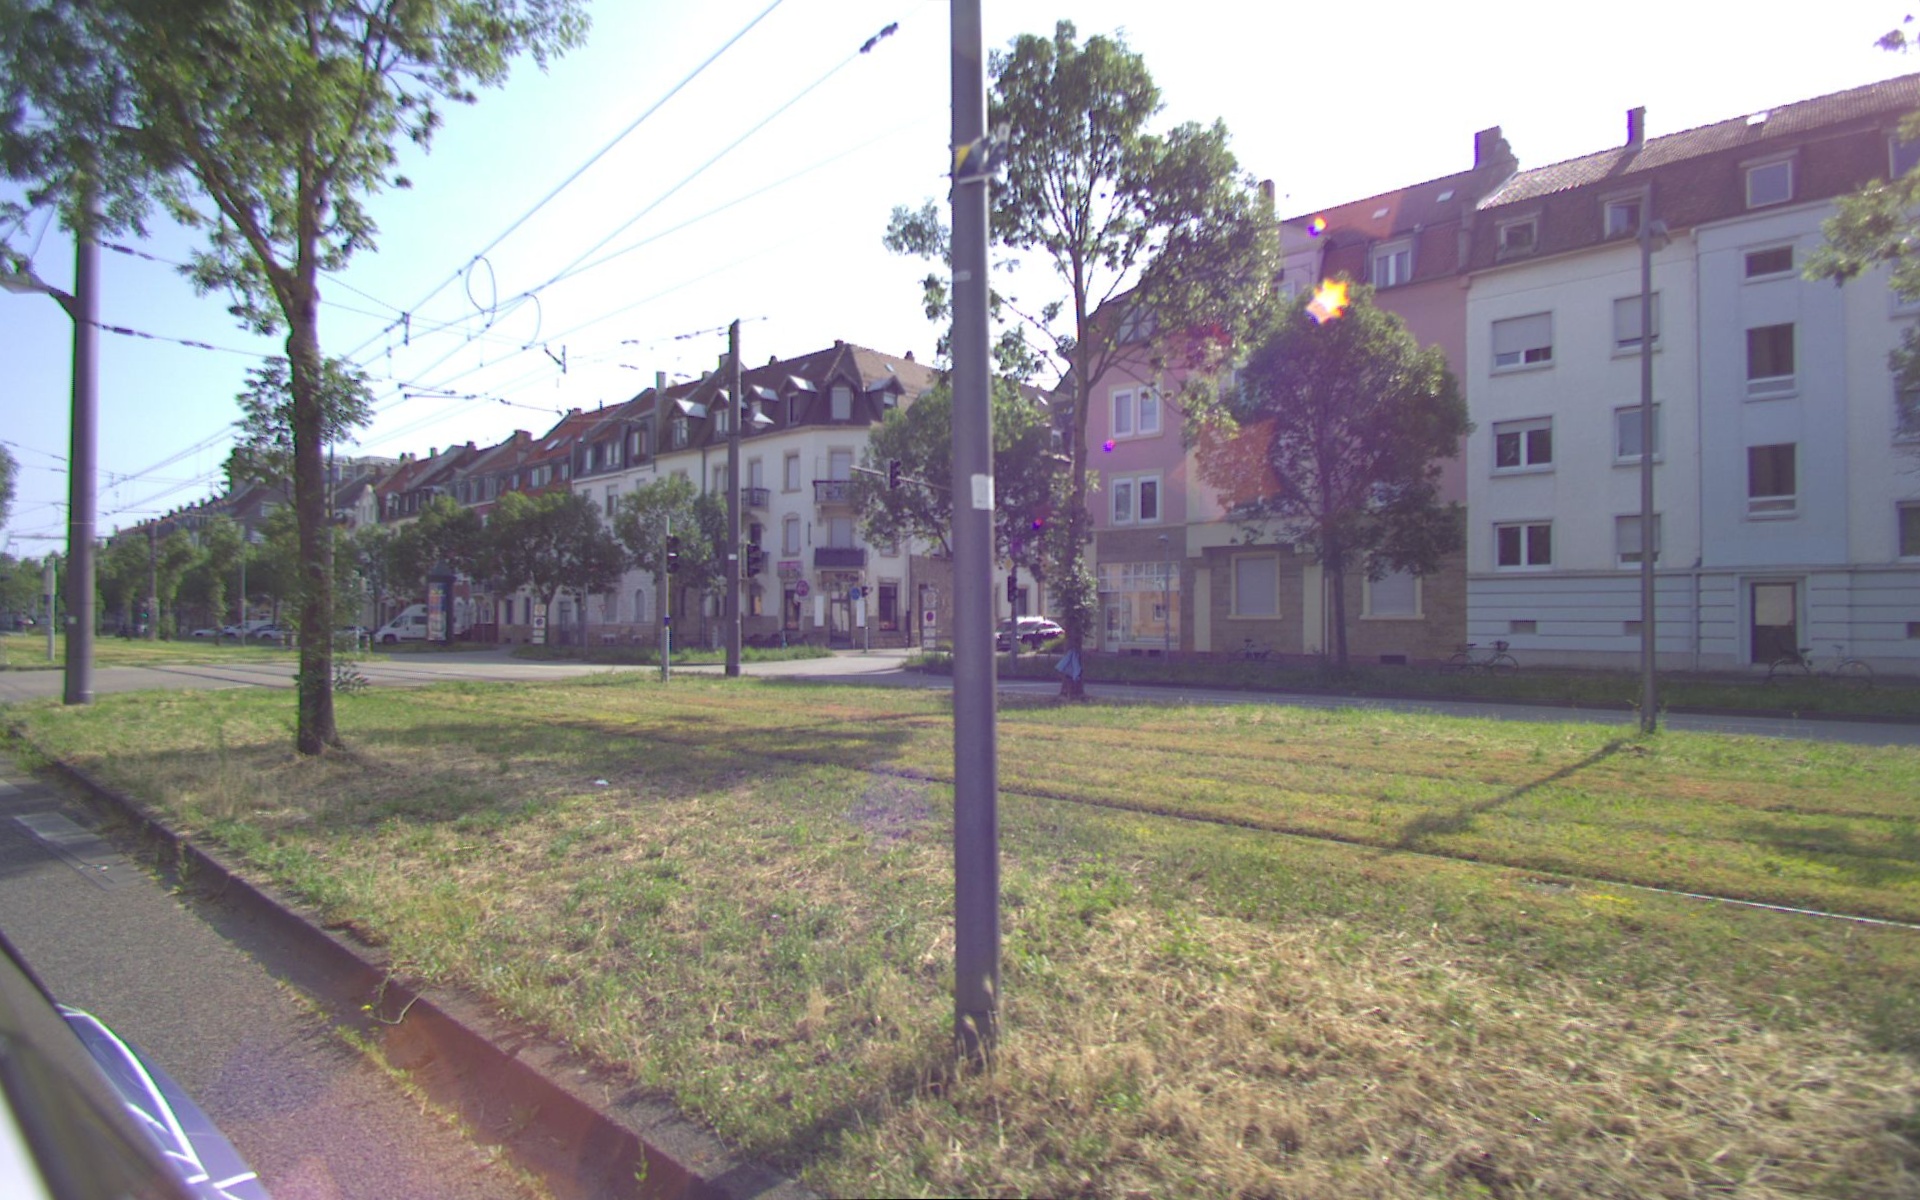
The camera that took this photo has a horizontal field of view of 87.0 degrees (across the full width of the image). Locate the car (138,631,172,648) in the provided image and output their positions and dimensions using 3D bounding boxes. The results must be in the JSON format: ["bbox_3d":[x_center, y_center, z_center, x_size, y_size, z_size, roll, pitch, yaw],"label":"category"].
[{"bbox_3d":[-75.216,3.640,94.539,3.924,1.444,1.793,-1,1,41],"label":"car"}]

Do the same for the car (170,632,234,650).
[{"bbox_3d":[-75.683,4.079,101.065,4.697,1.496,2.029,-2,1,-16],"label":"car"}]

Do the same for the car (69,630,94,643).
[{"bbox_3d":[-113.410,4.659,130.639,4.648,1.470,1.926,-1,1,43],"label":"car"}]

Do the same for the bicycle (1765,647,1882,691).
[{"bbox_3d":[19.045,1.509,22.364,1.946,0.863,0.443,-1,1,41],"label":"bicycle"}]

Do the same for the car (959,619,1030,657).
[{"bbox_3d":[1.933,2.050,55.588,1.832,1.863,3.947,-1,1,40],"label":"car"}]

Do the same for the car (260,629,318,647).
[{"bbox_3d":[-55.413,3.114,83.597,3.625,1.251,1.667,-1,1,-13],"label":"car"}]

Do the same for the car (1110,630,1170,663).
[{"bbox_3d":[9.130,2.325,51.184,1.568,1.472,3.364,-1,1,39],"label":"car"}]

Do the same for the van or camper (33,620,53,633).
[{"bbox_3d":[-159.096,4.619,175.516,5.351,2.112,1.931,-1,1,42],"label":"van or camper"}]

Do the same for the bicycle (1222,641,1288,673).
[{"bbox_3d":[9.188,1.759,31.568,1.946,0.895,0.463,-1,1,41],"label":"bicycle"}]

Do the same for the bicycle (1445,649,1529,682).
[{"bbox_3d":[14.107,1.752,27.150,1.946,0.795,0.433,-1,1,41],"label":"bicycle"}]

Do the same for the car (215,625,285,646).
[{"bbox_3d":[-65.068,3.224,92.784,4.869,1.739,1.862,-1,1,-13],"label":"car"}]

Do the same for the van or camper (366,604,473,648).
[{"bbox_3d":[-35.346,1.657,66.361,5.827,2.593,2.205,-1,1,-13],"label":"van or camper"}]

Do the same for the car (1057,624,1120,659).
[{"bbox_3d":[7.691,2.431,60.342,1.832,1.863,3.947,-1,1,40],"label":"car"}]

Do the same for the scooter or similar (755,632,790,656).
[{"bbox_3d":[-9.014,2.108,48.586,1.477,1.077,0.737,-1,1,21],"label":"scooter or similar"}]

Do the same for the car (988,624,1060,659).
[{"bbox_3d":[3.430,2.153,53.668,1.832,1.633,3.947,-1,1,40],"label":"car"}]

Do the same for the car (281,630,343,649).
[{"bbox_3d":[-49.091,2.962,76.713,3.625,1.251,1.667,-1,1,-13],"label":"car"}]

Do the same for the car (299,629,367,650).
[{"bbox_3d":[-46.197,2.875,74.663,3.948,1.326,1.667,-1,1,-13],"label":"car"}]

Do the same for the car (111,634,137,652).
[{"bbox_3d":[-86.928,4.475,105.202,1.744,1.668,4.003,-2,1,-44],"label":"car"}]

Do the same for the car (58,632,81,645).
[{"bbox_3d":[-125.500,5.436,142.602,5.380,1.642,1.972,-1,1,44],"label":"car"}]
